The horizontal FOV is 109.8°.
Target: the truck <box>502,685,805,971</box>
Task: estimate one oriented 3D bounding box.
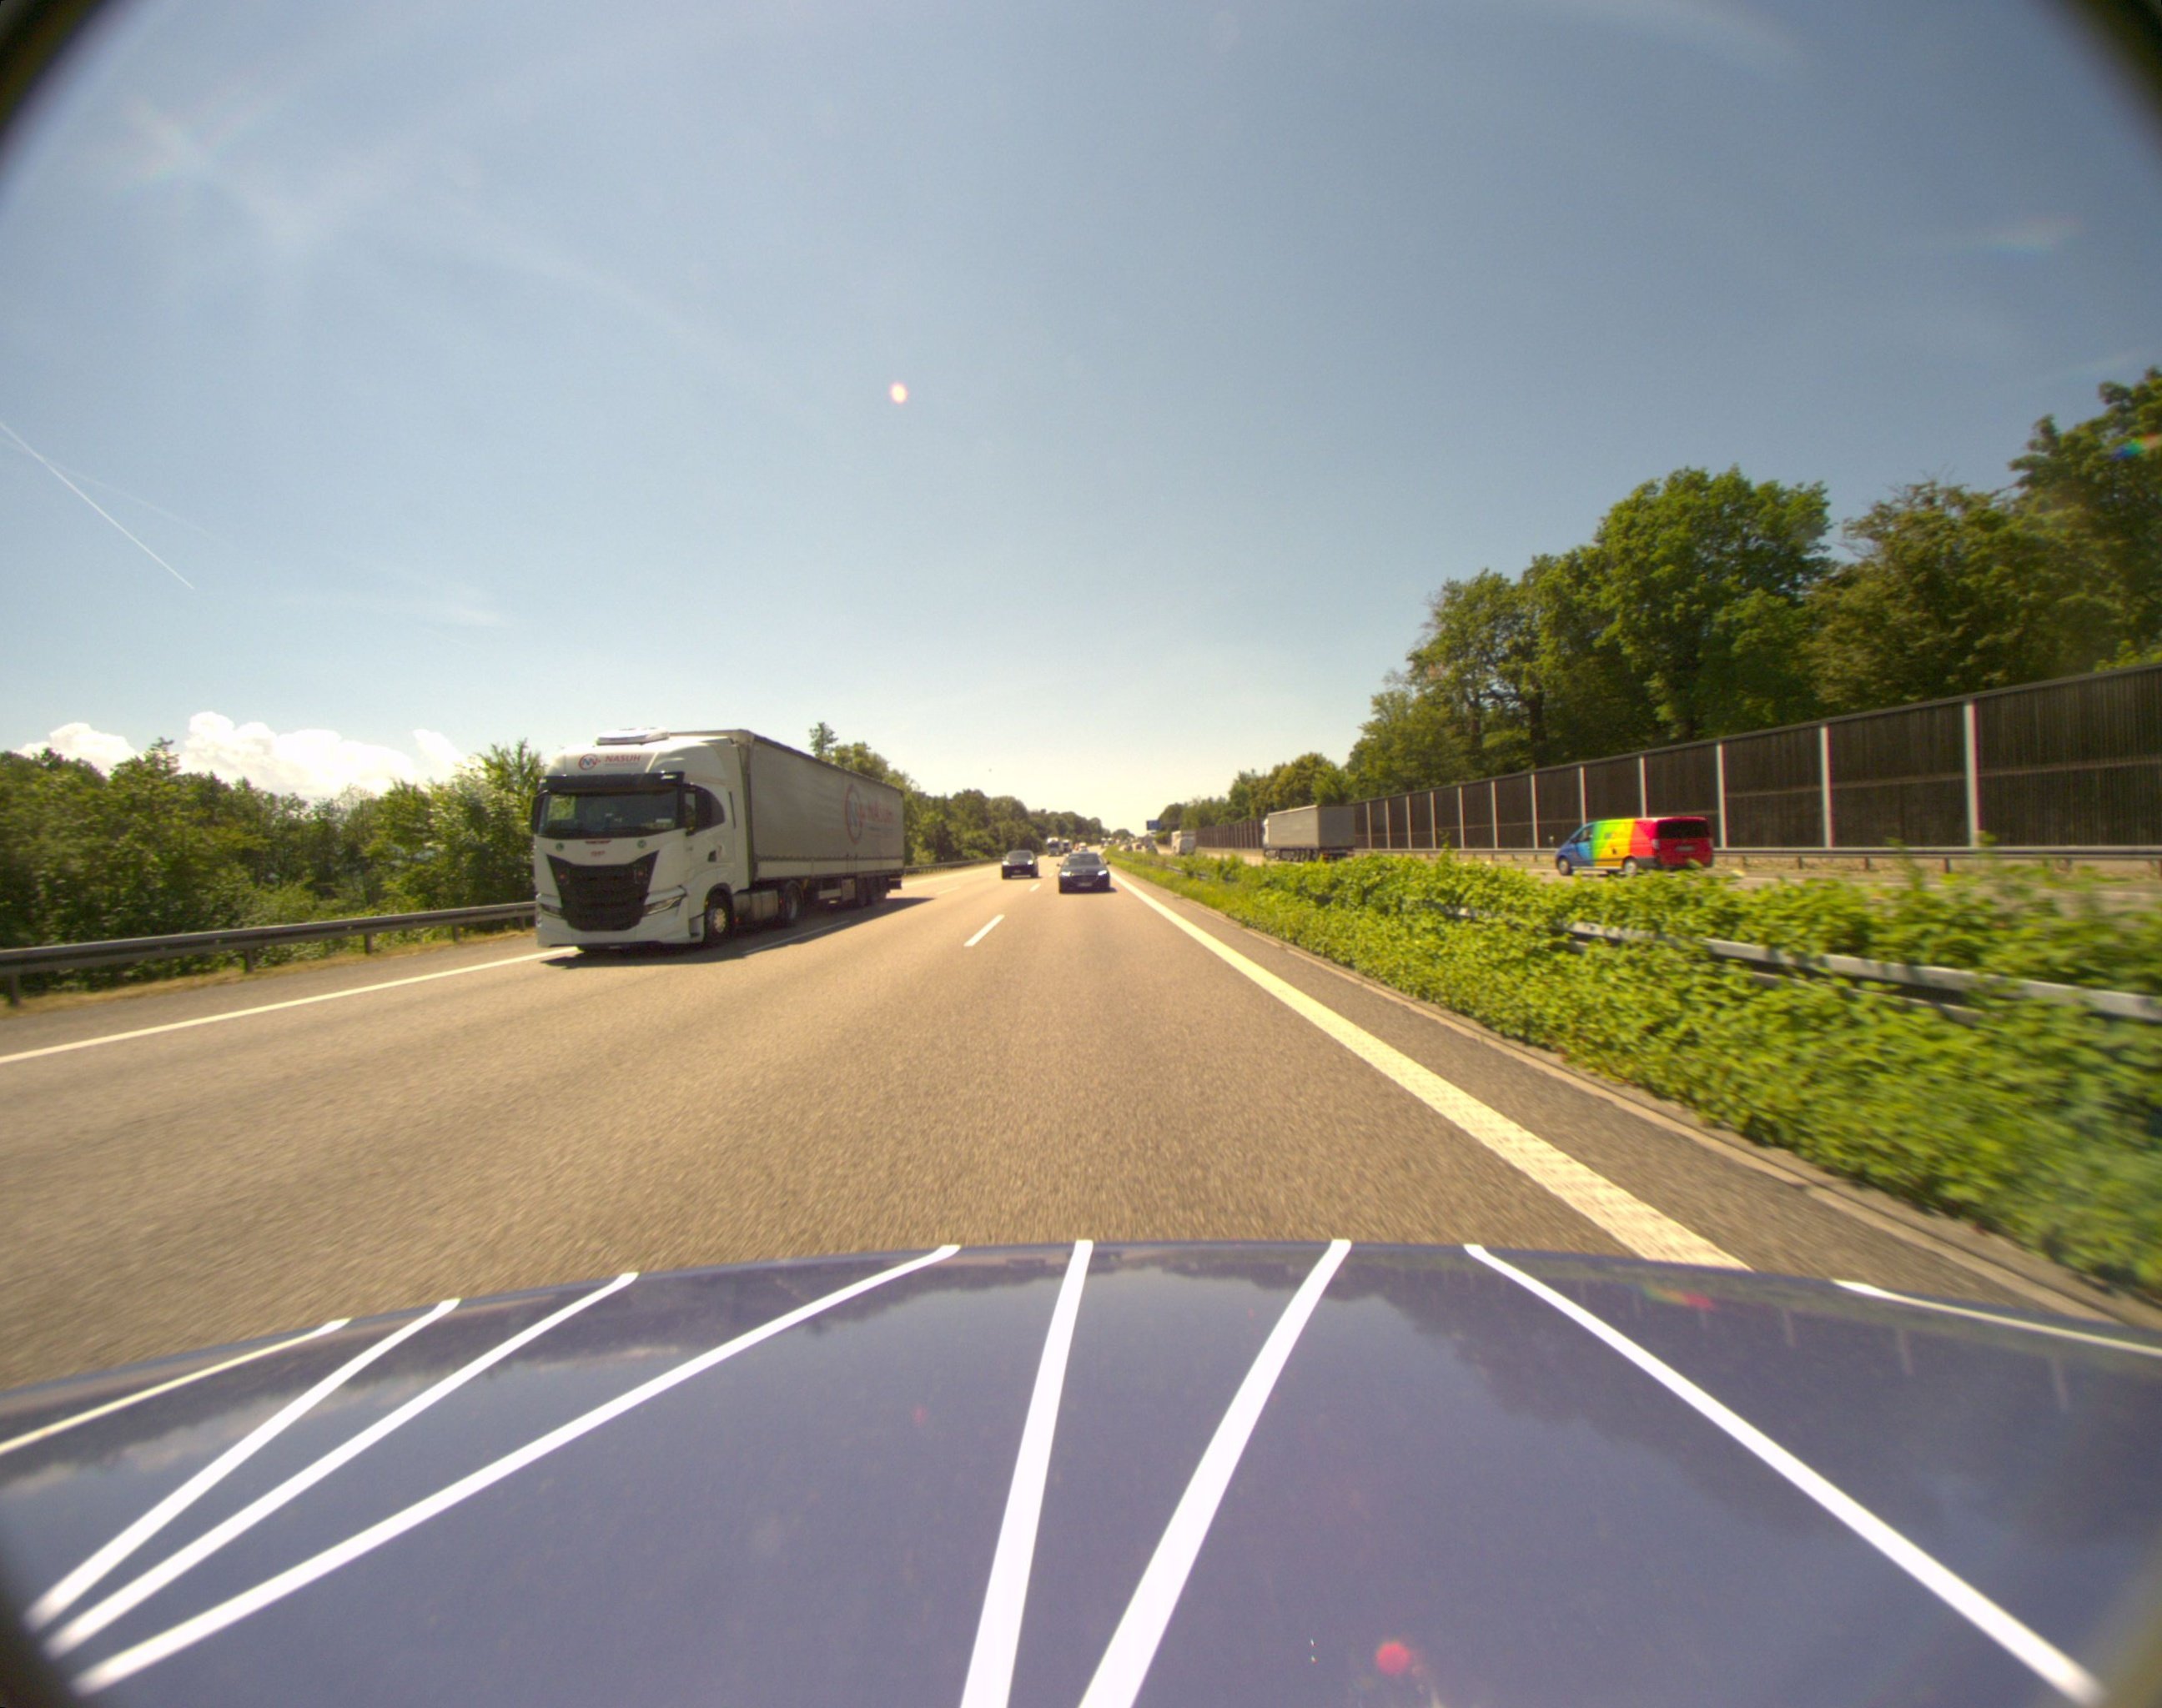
[{"bbox_3d":[-7.779,-0.437,14.831,2.542,4.446,5.571,-2,1,0],"label":"truck"}]

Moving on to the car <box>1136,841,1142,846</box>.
[{"bbox_3d":[17.909,-3.184,234.252,1.803,1.439,4.000,-2,1,2],"label":"car"}]

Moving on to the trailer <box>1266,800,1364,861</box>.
[{"bbox_3d":[17.483,-1.646,58.198,2.970,4.006,13.804,-2,1,0],"label":"trailer"}]

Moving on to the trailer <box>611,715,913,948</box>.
[{"bbox_3d":[-7.778,-0.514,21.889,2.542,4.446,14.158,-2,1,0],"label":"trailer"}]

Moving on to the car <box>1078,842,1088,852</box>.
[{"bbox_3d":[0.343,-1.377,149.873,1.909,1.717,4.375,-2,1,1],"label":"car"}]

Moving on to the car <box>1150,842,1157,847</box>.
[{"bbox_3d":[21.539,-2.745,225.493,1.803,1.439,4.000,-2,1,2],"label":"car"}]

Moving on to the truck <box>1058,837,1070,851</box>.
[{"bbox_3d":[-4.817,-2.891,217.307,3.074,3.618,12.400,-2,1,1],"label":"truck"}]

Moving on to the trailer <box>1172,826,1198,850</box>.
[{"bbox_3d":[18.543,-2.771,136.109,3.100,4.006,13.006,-2,1,1],"label":"trailer"}]

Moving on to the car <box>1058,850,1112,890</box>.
[{"bbox_3d":[0.052,0.610,32.879,1.949,1.498,5.818,-2,0,-3],"label":"car"}]

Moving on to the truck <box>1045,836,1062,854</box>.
[{"bbox_3d":[-6.009,-2.013,168.169,3.074,3.618,12.400,-2,1,1],"label":"truck"}]

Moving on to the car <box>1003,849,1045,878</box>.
[{"bbox_3d":[-3.437,0.526,46.918,2.049,1.616,5.771,-2,0,0],"label":"car"}]

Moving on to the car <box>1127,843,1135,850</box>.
[{"bbox_3d":[12.269,-1.857,187.564,1.803,1.439,4.000,-2,1,2],"label":"car"}]

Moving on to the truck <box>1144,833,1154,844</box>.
[{"bbox_3d":[23.233,-5.153,259.223,2.664,3.713,11.200,-2,1,2],"label":"truck"}]

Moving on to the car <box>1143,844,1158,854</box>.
[{"bbox_3d":[10.185,-0.716,111.393,1.804,1.439,3.999,-2,1,0],"label":"car"}]

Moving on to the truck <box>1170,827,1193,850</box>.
[{"bbox_3d":[18.681,-2.839,141.723,3.119,4.006,7.965,-2,1,1],"label":"truck"}]

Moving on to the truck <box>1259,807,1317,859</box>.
[{"bbox_3d":[17.426,-1.726,64.395,2.959,4.006,6.594,-2,1,0],"label":"truck"}]

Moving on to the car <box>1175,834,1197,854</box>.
[{"bbox_3d":[14.047,-1.325,102.183,2.137,2.494,5.705,-1,1,0],"label":"car"}]

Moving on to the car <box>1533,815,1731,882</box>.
[{"bbox_3d":[17.599,-0.191,24.801,1.999,1.870,5.958,-2,1,-1],"label":"car"}]
